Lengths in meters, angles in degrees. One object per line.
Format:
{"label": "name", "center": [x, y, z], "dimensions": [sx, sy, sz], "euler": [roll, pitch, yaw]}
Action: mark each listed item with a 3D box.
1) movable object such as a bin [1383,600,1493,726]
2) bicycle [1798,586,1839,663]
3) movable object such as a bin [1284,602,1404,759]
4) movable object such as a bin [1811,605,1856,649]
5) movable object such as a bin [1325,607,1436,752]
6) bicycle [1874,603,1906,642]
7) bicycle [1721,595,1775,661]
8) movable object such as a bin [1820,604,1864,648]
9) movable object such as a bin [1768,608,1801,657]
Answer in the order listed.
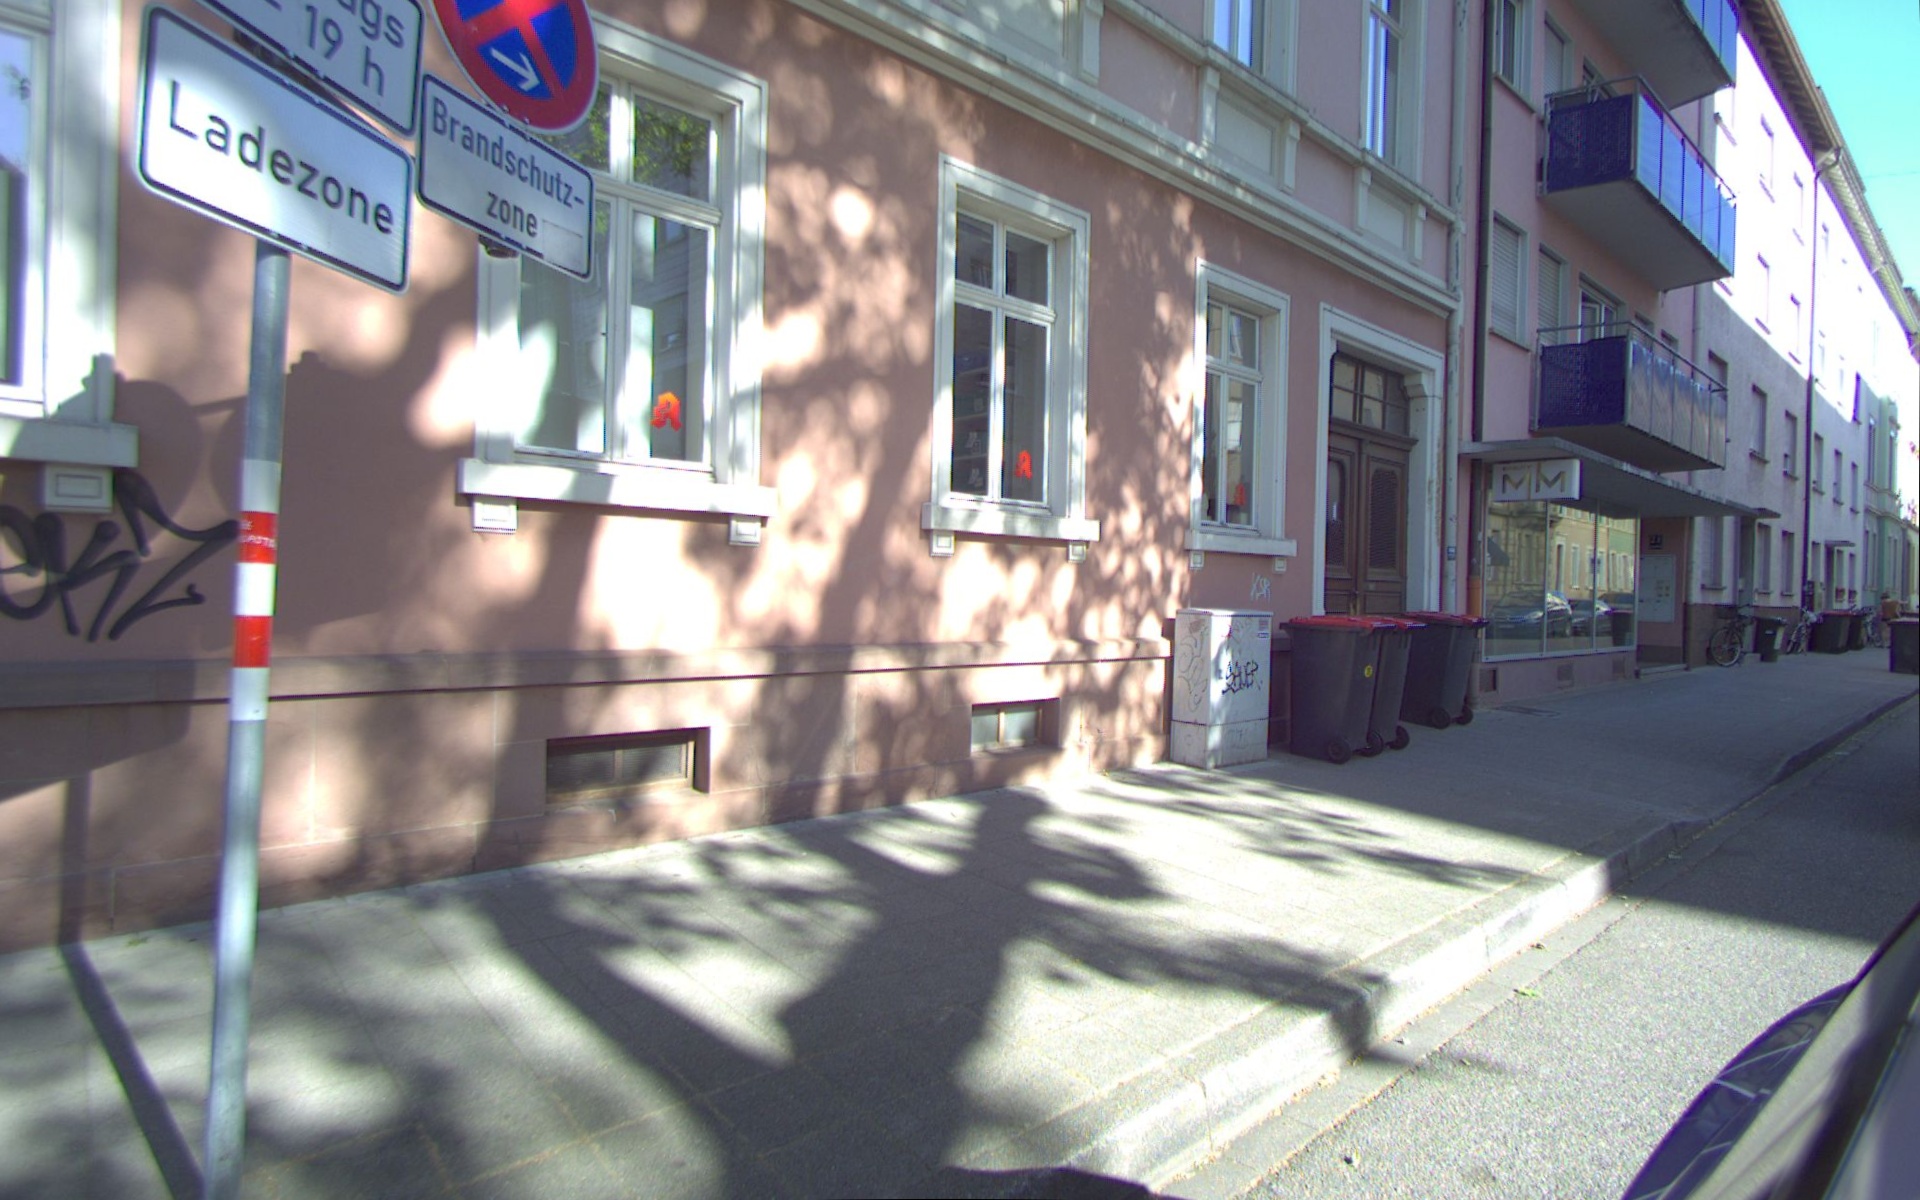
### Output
{"label": "movable object such as a bin", "center": [4.574, 0.572, 9.684], "dimensions": [0.608, 1.097, 0.717], "euler": [1, 3, -43]}
{"label": "bicycle", "center": [20.350, 0.554, 23.972], "dimensions": [2.070, 1.757, 0.402], "euler": [0, 1, -41]}
{"label": "movable object such as a bin", "center": [2.937, 0.584, 7.734], "dimensions": [0.643, 1.097, 0.570], "euler": [1, 3, -43]}
{"label": "movable object such as a bin", "center": [21.549, 0.646, 24.963], "dimensions": [0.537, 1.014, 0.716], "euler": [1, 4, -43]}
{"label": "movable object such as a bin", "center": [3.385, 0.611, 8.147], "dimensions": [0.601, 1.071, 0.570], "euler": [1, 3, -43]}
{"label": "bicycle", "center": [27.649, 0.651, 30.078], "dimensions": [1.899, 1.110, 0.489], "euler": [0, 1, -41]}
{"label": "bicycle", "center": [14.664, 0.506, 18.811], "dimensions": [1.989, 1.165, 0.402], "euler": [0, 1, -41]}
{"label": "movable object such as a bin", "center": [22.198, 0.646, 25.473], "dimensions": [0.537, 1.014, 0.716], "euler": [1, 4, -43]}
{"label": "movable object such as a bin", "center": [16.625, 0.649, 20.404], "dimensions": [0.297, 0.951, 0.416], "euler": [1, 3, -43]}
